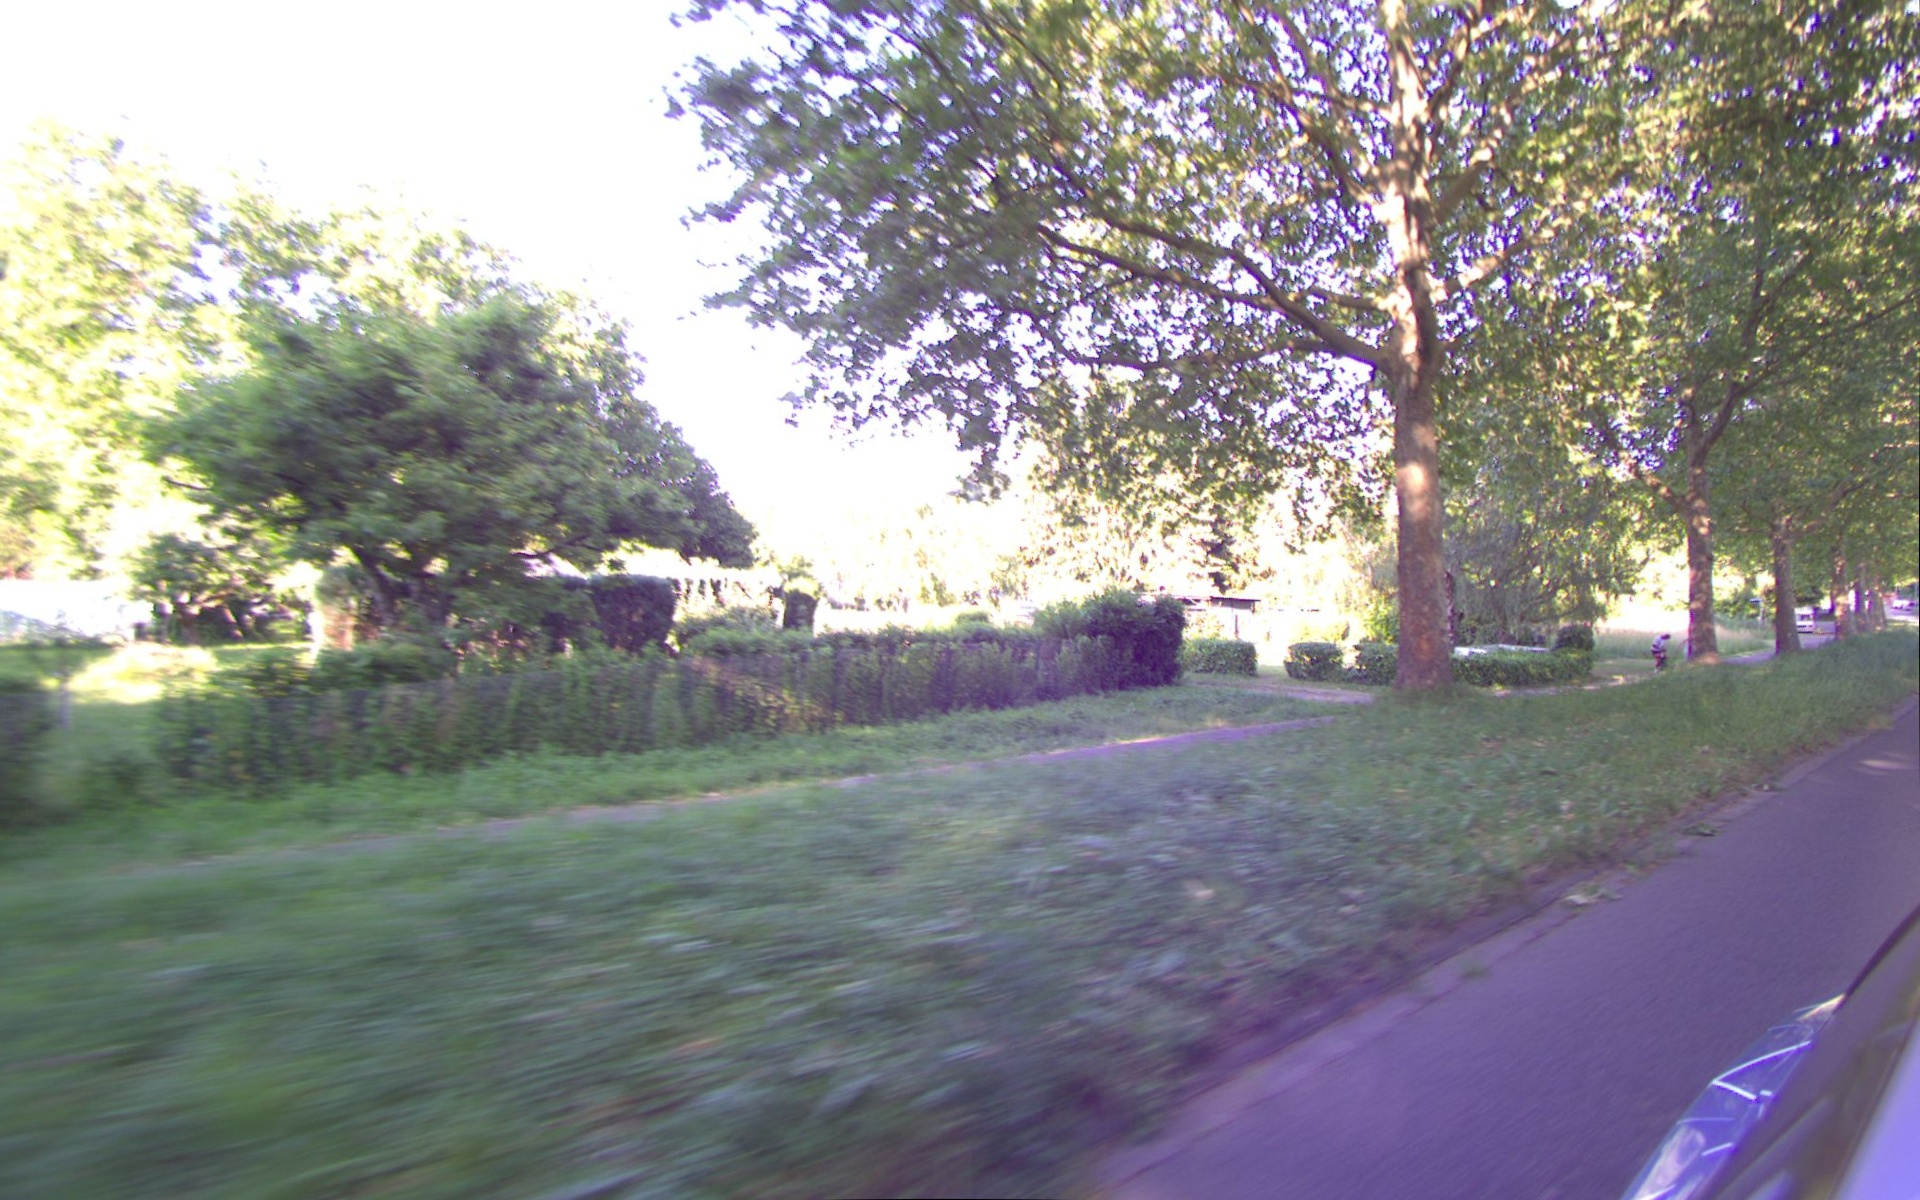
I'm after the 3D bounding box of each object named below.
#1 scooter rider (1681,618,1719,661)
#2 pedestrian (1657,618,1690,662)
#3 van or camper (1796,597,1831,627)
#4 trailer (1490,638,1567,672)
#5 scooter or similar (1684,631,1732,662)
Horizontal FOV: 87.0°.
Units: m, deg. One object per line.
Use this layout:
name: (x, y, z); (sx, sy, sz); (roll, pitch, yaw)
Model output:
scooter rider: (28.250, 1.496, 38.644); (0.828, 1.596, 0.786); (0, 0, -6)
pedestrian: (26.749, 1.502, 37.931); (0.835, 1.596, 0.779); (0, 0, 21)
van or camper: (83.769, 1.132, 99.328); (2.379, 2.835, 5.598); (0, 1, 42)
trailer: (20.137, 1.932, 35.892); (1.179, 1.066, 2.122); (0, 1, -38)
scooter or similar: (28.568, 1.766, 38.662); (1.569, 1.149, 0.341); (0, 0, -1)
